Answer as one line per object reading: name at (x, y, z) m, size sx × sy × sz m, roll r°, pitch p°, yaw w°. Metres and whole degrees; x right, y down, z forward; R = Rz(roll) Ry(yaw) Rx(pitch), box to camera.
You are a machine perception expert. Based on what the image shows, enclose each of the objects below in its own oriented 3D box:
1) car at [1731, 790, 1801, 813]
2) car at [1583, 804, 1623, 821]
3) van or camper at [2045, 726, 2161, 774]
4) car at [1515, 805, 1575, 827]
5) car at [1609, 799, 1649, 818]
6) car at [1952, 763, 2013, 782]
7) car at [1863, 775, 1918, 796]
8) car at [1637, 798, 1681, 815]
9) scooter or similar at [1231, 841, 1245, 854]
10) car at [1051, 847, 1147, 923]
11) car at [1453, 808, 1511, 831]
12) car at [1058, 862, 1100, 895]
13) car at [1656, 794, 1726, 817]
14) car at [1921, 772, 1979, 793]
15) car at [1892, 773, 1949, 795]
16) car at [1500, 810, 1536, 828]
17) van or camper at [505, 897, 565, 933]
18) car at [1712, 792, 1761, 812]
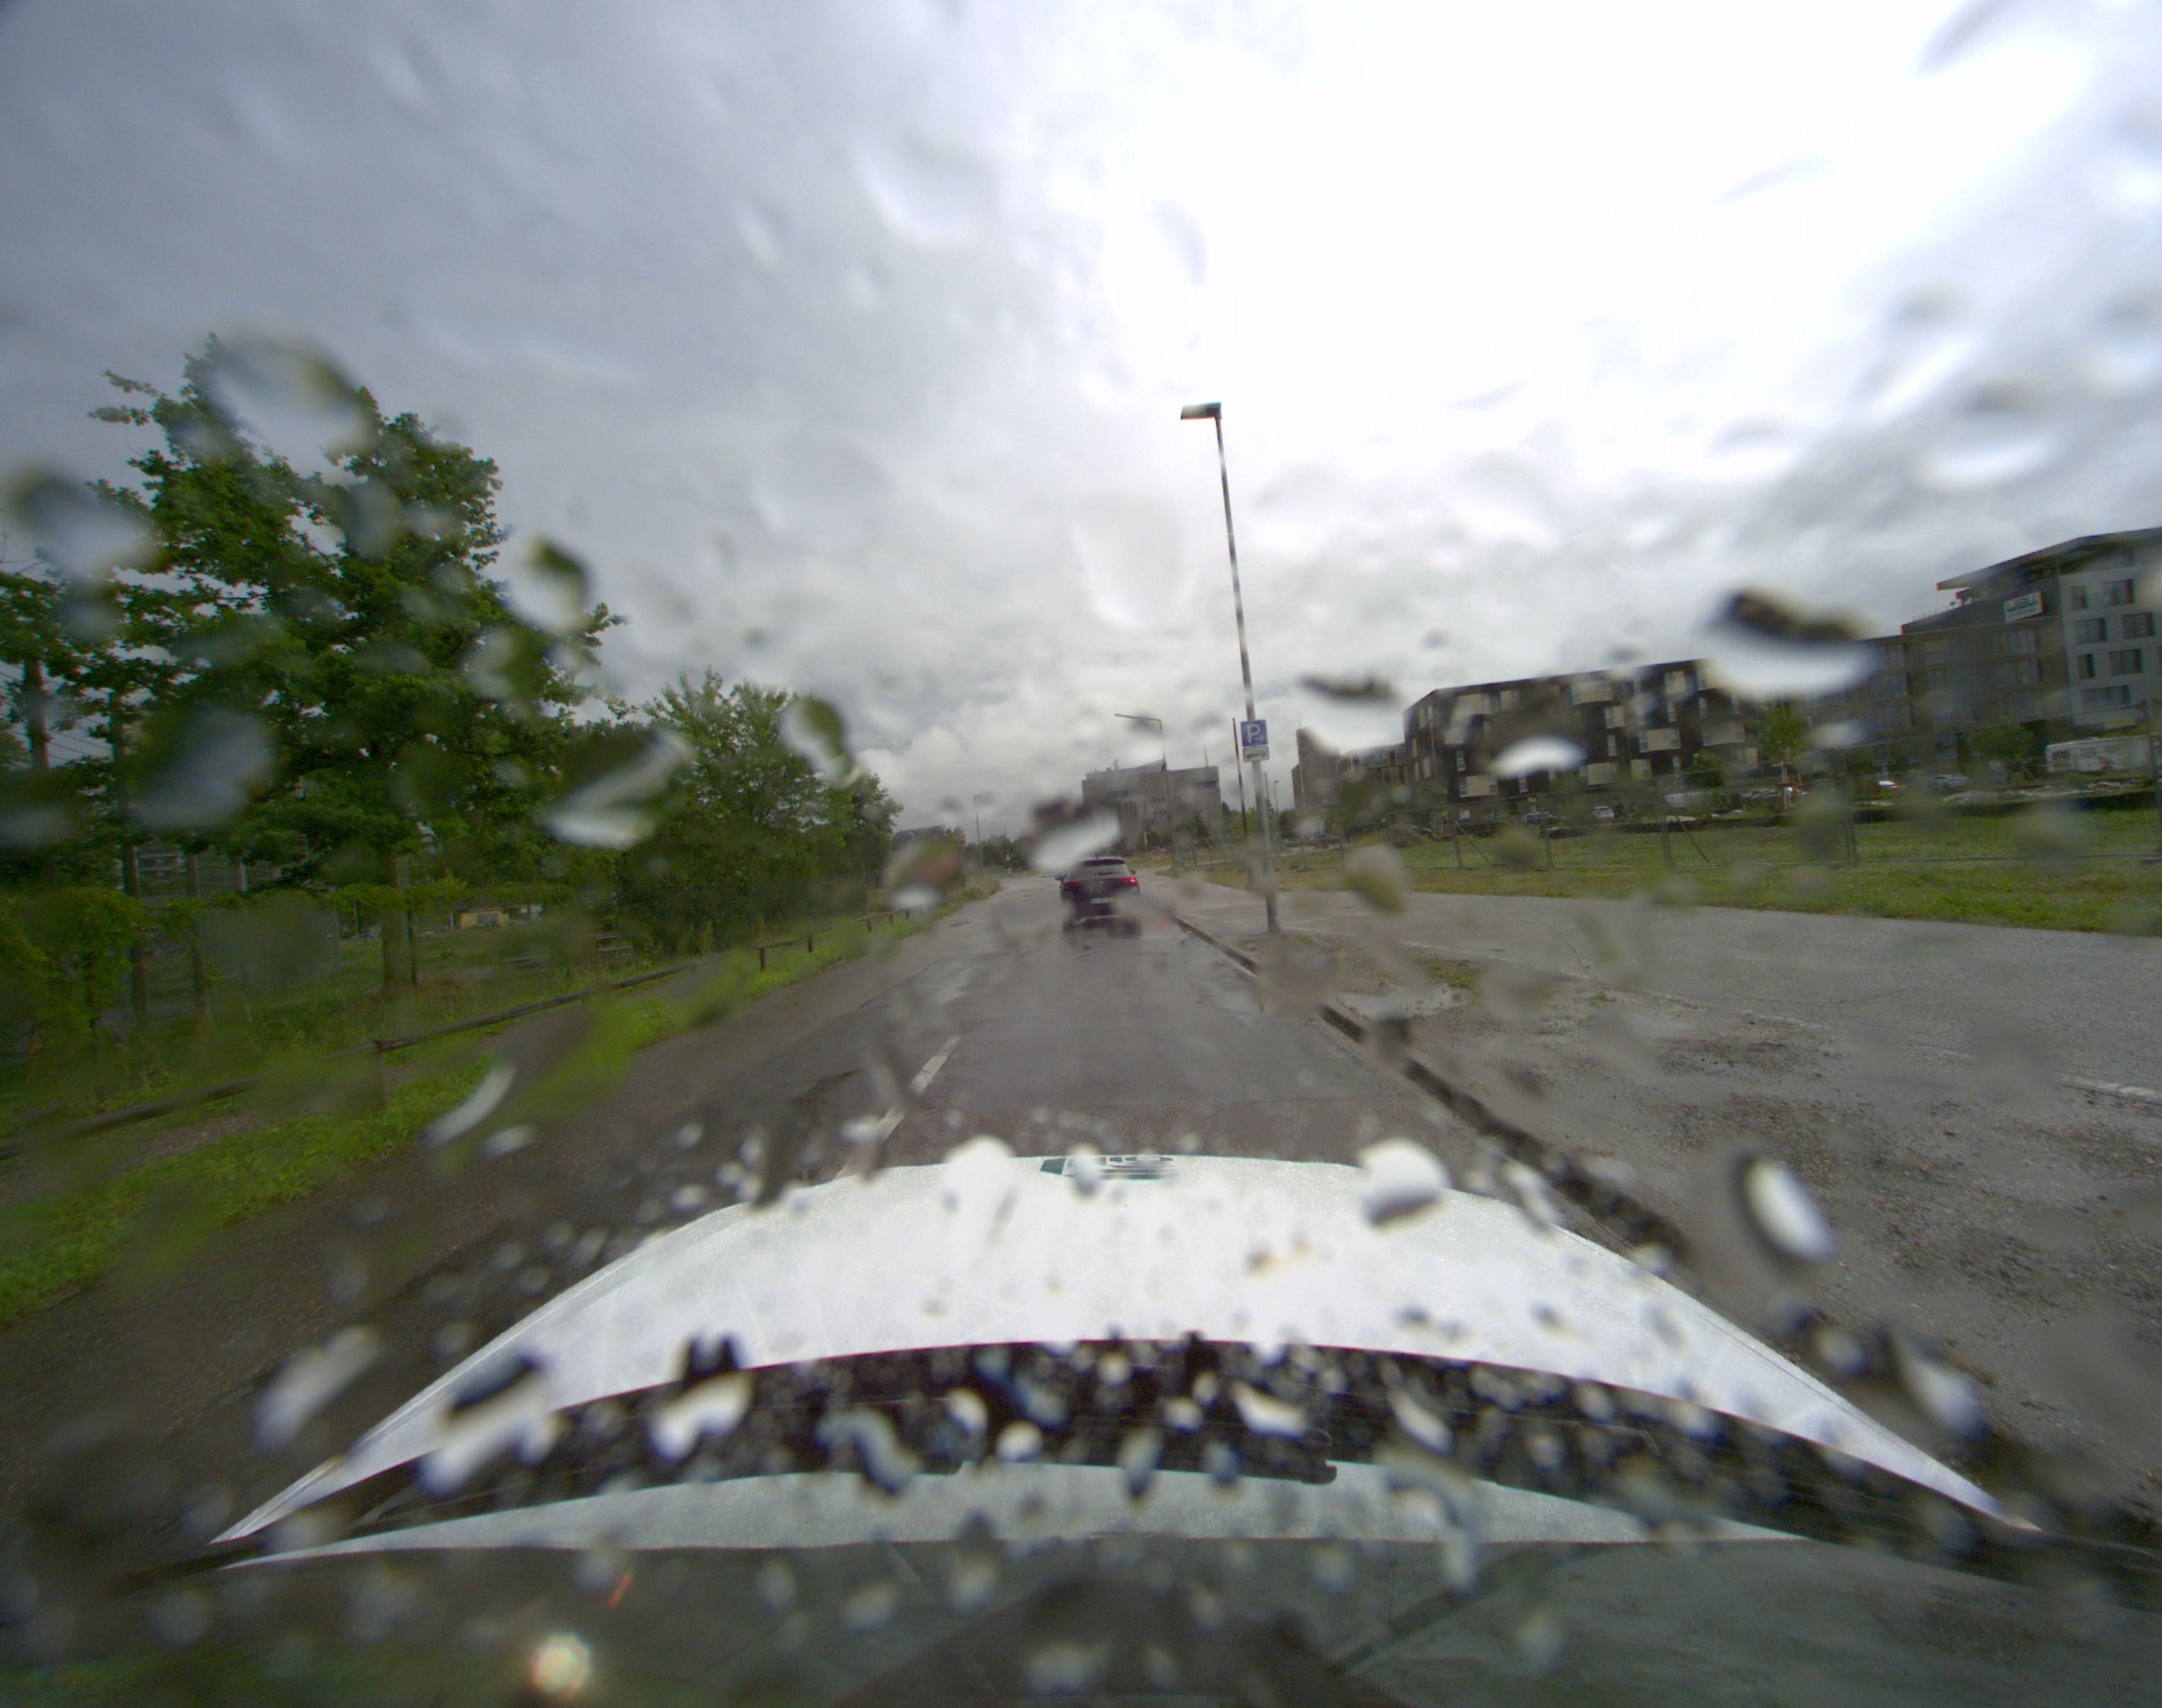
car at (56.918, -4.356, 67.723) m, size 3.965 × 1.414 × 2.004 m, roll -5°, pitch 0°, yaw 7°
car at (50.451, -3.994, 78.780) m, size 1.753 × 1.395 × 3.816 m, roll -3°, pitch 0°, yaw 7°
van or camper at (81.239, -8.172, 64.207) m, size 6.740 × 3.201 × 2.536 m, roll -3°, pitch 0°, yaw 8°
car at (39.667, -3.216, 69.697) m, size 3.969 × 1.641 × 2.002 m, roll -3°, pitch 0°, yaw 4°
car at (52.779, -4.365, 78.449) m, size 1.629 × 1.396 × 3.790 m, roll -4°, pitch -1°, yaw 8°
car at (82.343, -7.400, 74.462) m, size 1.538 × 1.296 × 3.912 m, roll -3°, pitch 0°, yaw 7°
car at (74.678, -6.314, 75.199) m, size 1.535 × 1.615 × 3.850 m, roll -3°, pitch 0°, yaw 7°
car at (55.203, -4.500, 77.879) m, size 1.770 × 1.395 × 3.850 m, roll -3°, pitch 0°, yaw 7°
scooter or similar at (15.865, -0.682, 82.204) m, size 1.286 × 1.187 × 0.499 m, roll -7°, pitch 2°, yaw -22°
car at (0.362, 0.649, 19.380) m, size 1.981 × 1.520 × 3.999 m, roll -3°, pitch 0°, yaw -1°
car at (34.494, -2.983, 70.106) m, size 3.969 × 1.728 × 2.002 m, roll -3°, pitch 0°, yaw 4°
car at (-0.167, 1.283, 43.908) m, size 1.838 × 1.441 × 3.994 m, roll -8°, pitch 0°, yaw -4°
car at (51.135, -4.068, 68.373) m, size 4.298 × 1.772 × 2.005 m, roll -1°, pitch 0°, yaw 8°
car at (79.663, -6.539, 74.715) m, size 1.535 × 1.615 × 3.850 m, roll -3°, pitch 0°, yaw 7°
car at (77.120, -6.424, 74.871) m, size 1.535 × 1.615 × 3.850 m, roll -3°, pitch 0°, yaw 7°
car at (42.814, -3.412, 79.814) m, size 1.770 × 1.527 × 3.850 m, roll -3°, pitch 0°, yaw 7°
van or camper at (-68.265, 7.555, 101.989) m, size 5.872 × 3.744 × 2.628 m, roll -6°, pitch 0°, yaw -31°
car at (61.667, -4.876, 76.701) m, size 1.770 × 1.615 × 3.850 m, roll -3°, pitch 0°, yaw 7°
